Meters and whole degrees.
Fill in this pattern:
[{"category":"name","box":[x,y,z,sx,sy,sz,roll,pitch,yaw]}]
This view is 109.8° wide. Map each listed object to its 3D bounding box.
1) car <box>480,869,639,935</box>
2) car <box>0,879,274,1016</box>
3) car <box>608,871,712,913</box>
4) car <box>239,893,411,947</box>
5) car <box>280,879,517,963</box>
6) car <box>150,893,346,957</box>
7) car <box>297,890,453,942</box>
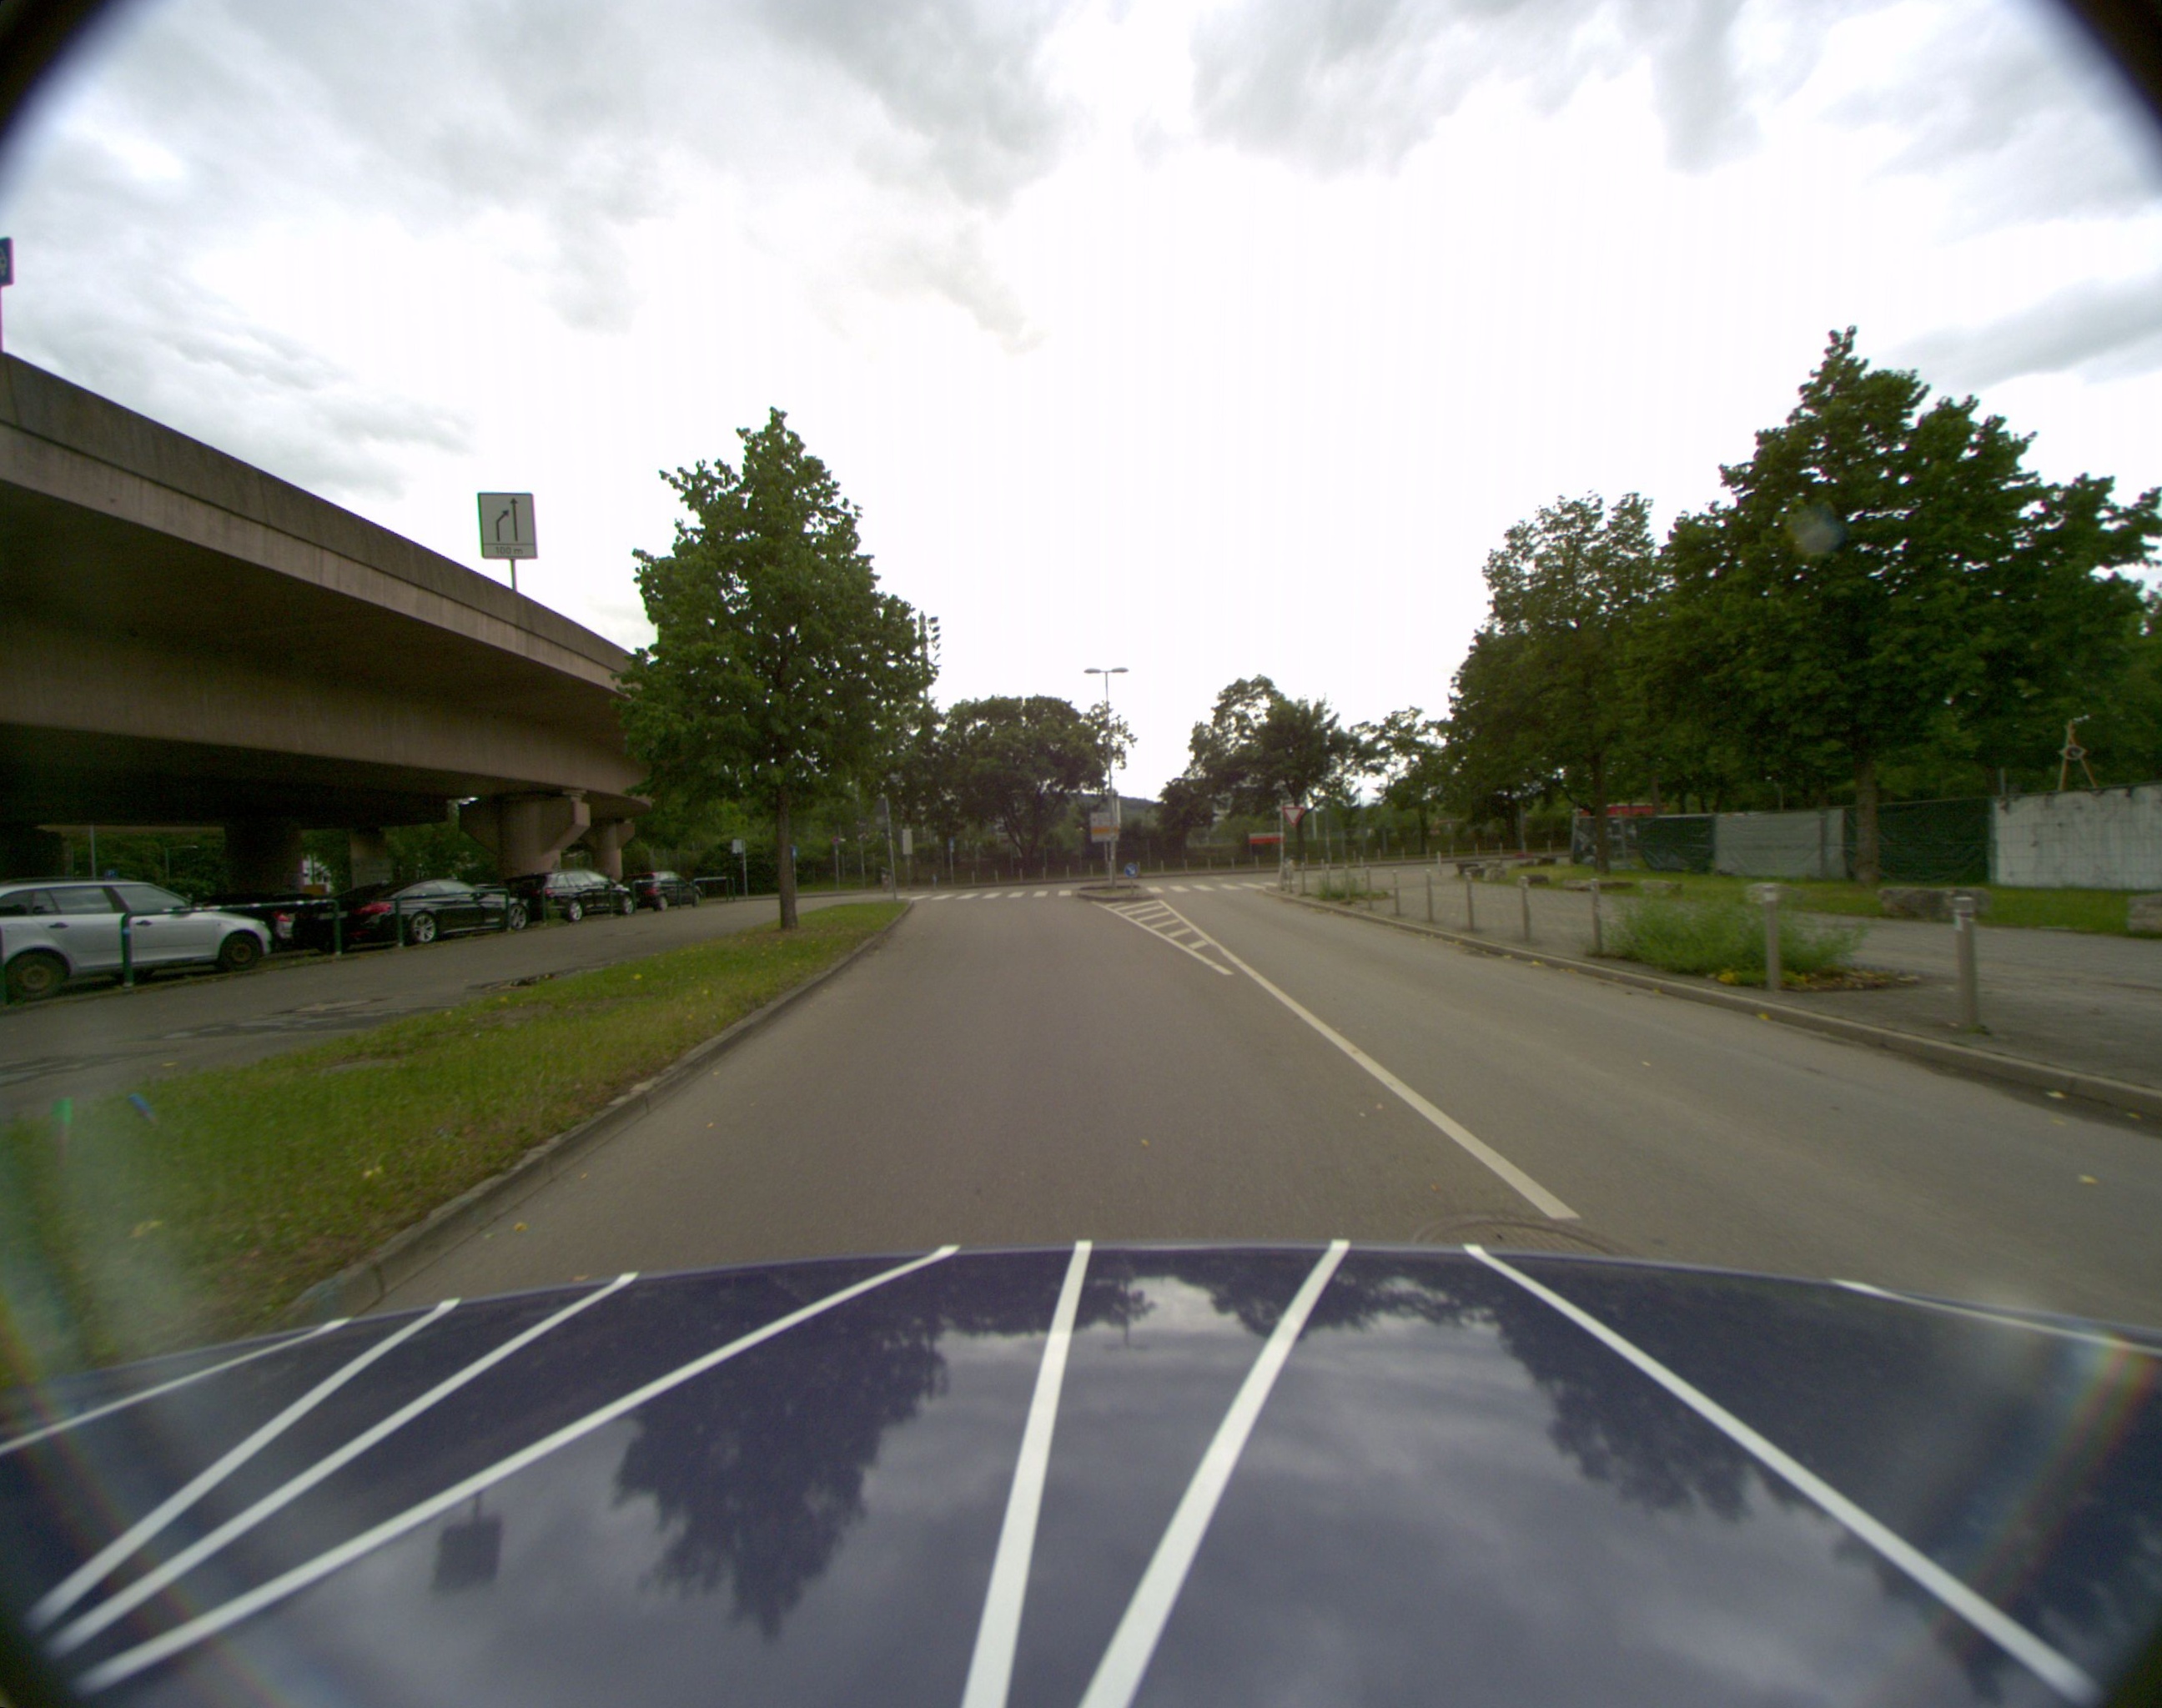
[{"category":"car","box":[-14.195,1.236,21.002,1.627,1.366,4.175,-8,0,-5]},{"category":"car","box":[-13.659,1.205,10.163,1.615,1.521,3.916,-4,0,-4]},{"category":"car","box":[-14.590,1.281,26.577,1.627,1.231,4.057,-3,0,-5]},{"category":"car","box":[-20.507,1.773,20.685,3.317,1.192,1.351,-3,0,2]},{"category":"car","box":[-13.924,1.290,15.839,1.627,1.308,3.775,-5,0,-4]},{"category":"car","box":[-20.403,1.717,18.686,3.317,1.287,1.351,-3,0,2]},{"category":"car","box":[-21.435,1.867,23.163,3.312,1.297,1.488,-2,1,1]}]
